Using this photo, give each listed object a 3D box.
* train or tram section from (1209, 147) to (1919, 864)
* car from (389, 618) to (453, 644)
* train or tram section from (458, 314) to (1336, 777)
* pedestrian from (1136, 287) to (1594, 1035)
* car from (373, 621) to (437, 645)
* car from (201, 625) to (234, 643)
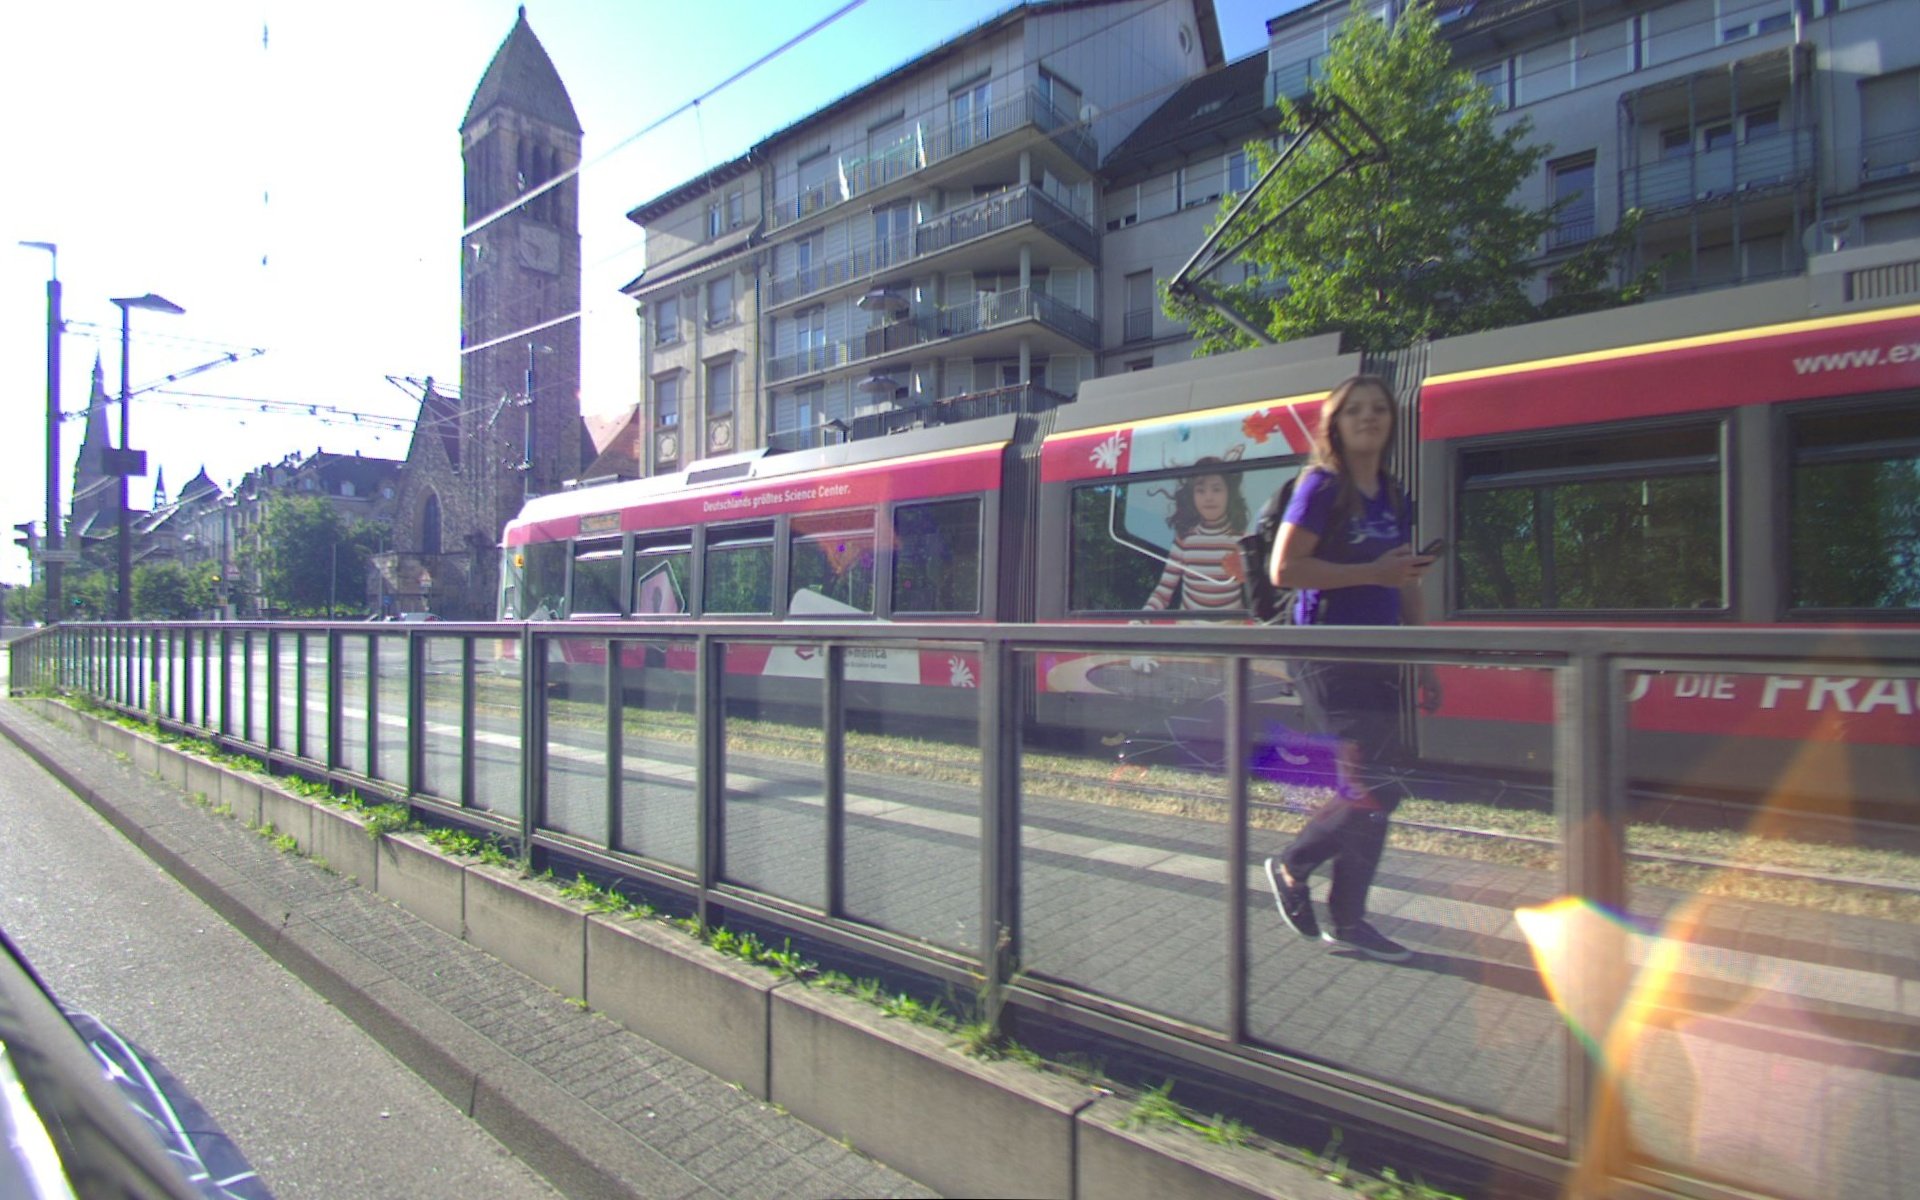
[{"bbox_3d":[8.287,-0.521,4.123,14.557,3.714,2.839,-1,-2,42],"label":"train or tram section"},{"bbox_3d":[-41.288,2.323,77.584,1.870,1.819,3.971,-1,0,42],"label":"car"},{"bbox_3d":[-2.541,-0.317,14.050,14.557,3.703,2.839,-1,-2,42],"label":"train or tram section"},{"bbox_3d":[1.084,0.134,2.752,0.981,1.622,0.623,-1,0,40],"label":"pedestrian"},{"bbox_3d":[-43.473,2.551,79.308,1.768,1.642,3.987,-1,0,42],"label":"car"},{"bbox_3d":[-71.114,3.246,96.896,4.214,1.541,1.763,-1,0,43],"label":"car"}]
